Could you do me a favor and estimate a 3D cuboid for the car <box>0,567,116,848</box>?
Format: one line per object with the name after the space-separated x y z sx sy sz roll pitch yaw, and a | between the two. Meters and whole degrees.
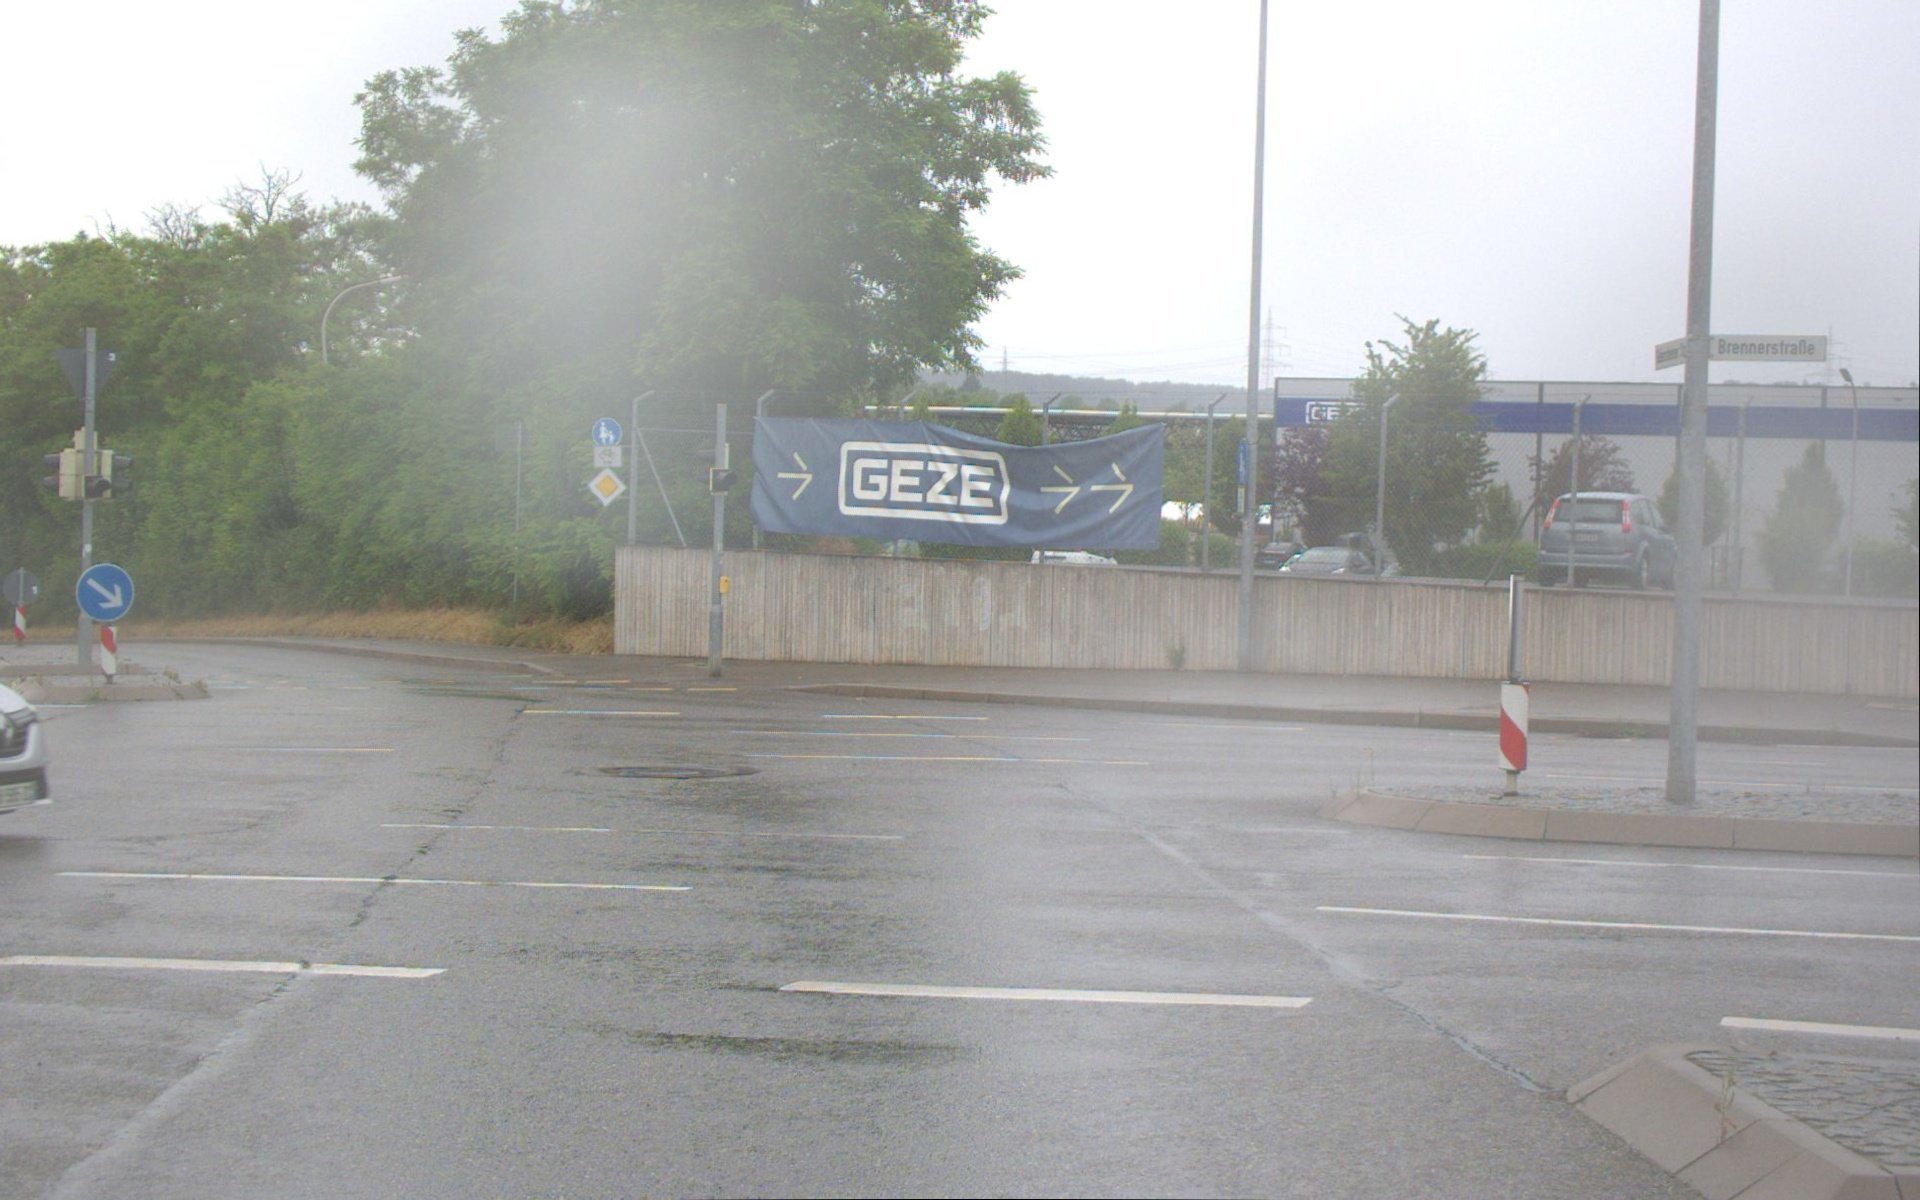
-6.848 0.500 18.298 4.142 1.412 1.926 2 1 14 | car

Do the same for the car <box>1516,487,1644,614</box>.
10.435 -0.841 57.719 1.994 2.007 3.998 1 1 11 | car
